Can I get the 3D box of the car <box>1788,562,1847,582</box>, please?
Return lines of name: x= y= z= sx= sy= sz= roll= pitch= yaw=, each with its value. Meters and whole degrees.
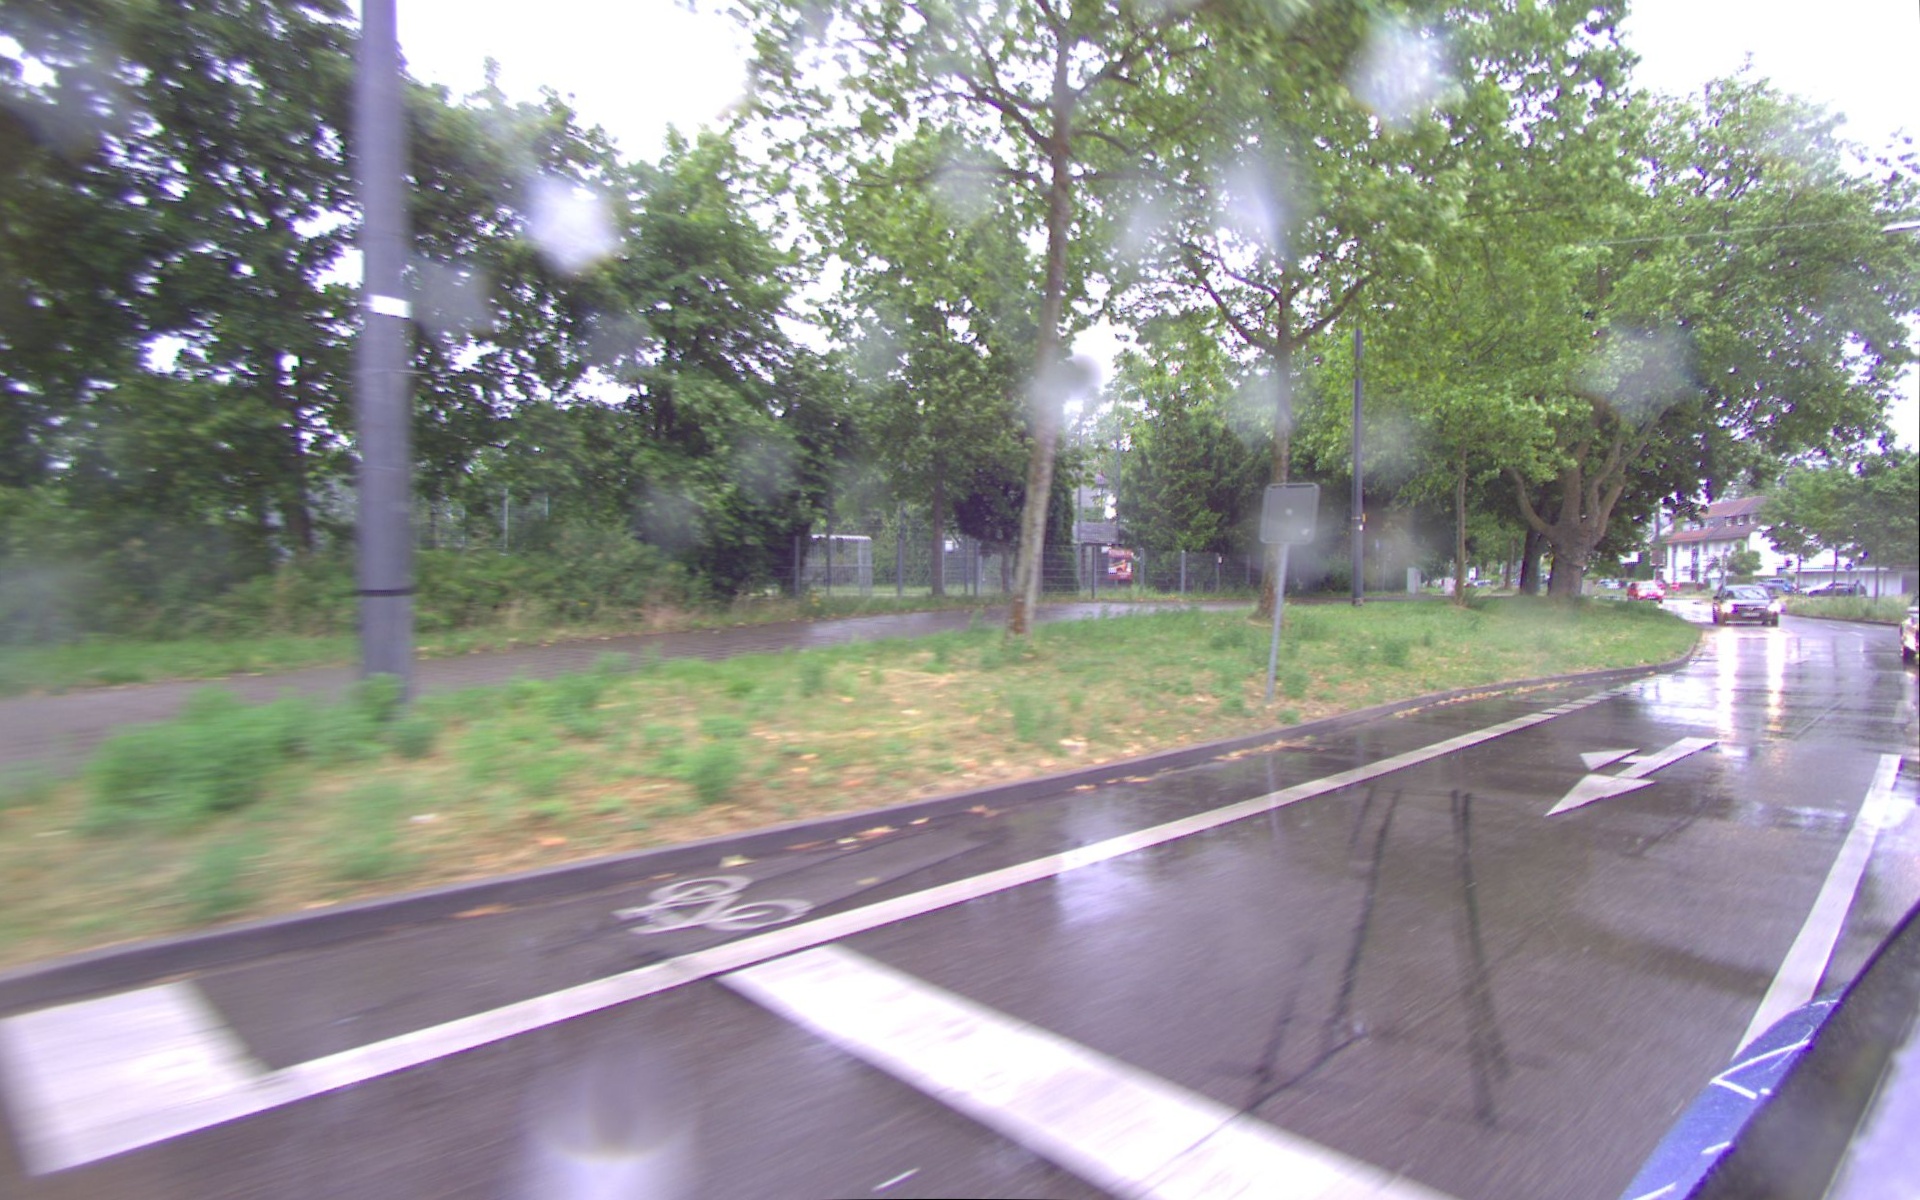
car: x=83.587 y=-2.699 z=98.683 sx=3.937 sy=1.824 sz=1.886 roll=-1 pitch=-1 yaw=11

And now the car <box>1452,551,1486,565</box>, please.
car: x=71.943 y=-5.956 z=143.091 sx=3.952 sy=1.850 sz=1.986 roll=-1 pitch=0 yaw=22

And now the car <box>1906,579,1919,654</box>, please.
car: x=19.101 y=0.306 z=18.882 sx=1.780 sy=1.421 sz=3.742 roll=0 pitch=1 yaw=38

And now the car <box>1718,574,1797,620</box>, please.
car: x=29.796 y=-0.135 z=37.913 sx=1.859 sy=1.638 sz=3.767 roll=-1 pitch=1 yaw=32

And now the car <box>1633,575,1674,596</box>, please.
car: x=48.581 y=-1.026 z=70.964 sx=1.771 sy=1.398 sz=3.831 roll=-1 pitch=1 yaw=25

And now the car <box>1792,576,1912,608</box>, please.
car: x=41.626 y=-0.350 z=47.345 sx=4.019 sy=1.438 sz=1.654 roll=0 pitch=1 yaw=36
